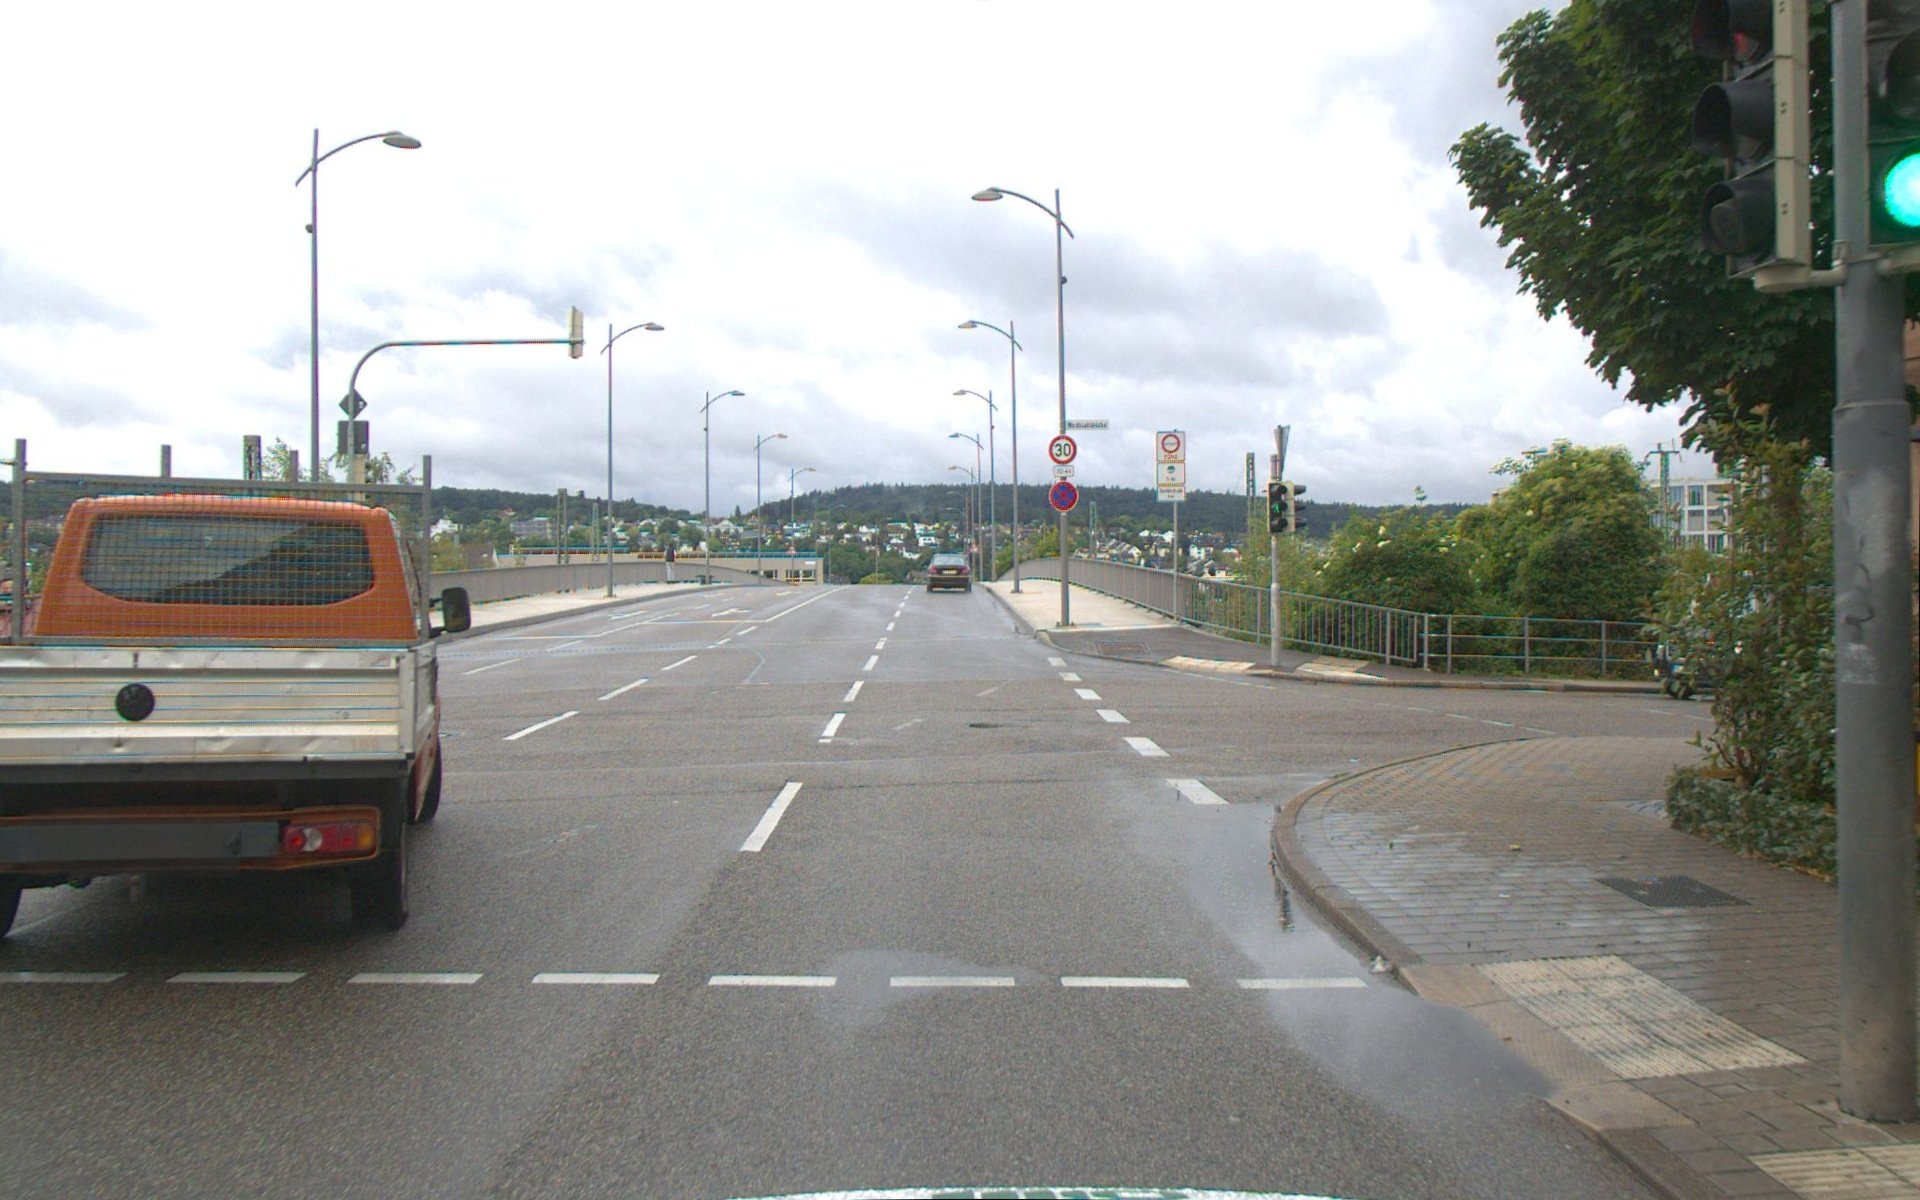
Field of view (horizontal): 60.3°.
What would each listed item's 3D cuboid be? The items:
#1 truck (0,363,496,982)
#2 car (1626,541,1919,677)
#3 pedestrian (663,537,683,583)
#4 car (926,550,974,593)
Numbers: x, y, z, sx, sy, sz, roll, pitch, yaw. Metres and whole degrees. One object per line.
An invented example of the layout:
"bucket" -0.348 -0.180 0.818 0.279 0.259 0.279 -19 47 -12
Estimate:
"truck" -3.676 0.264 8.456 2.360 2.167 5.294 -1 0 -15
"car" 13.507 0.170 27.293 4.681 2.049 1.985 2 0 -25
"pedestrian" -13.304 -1.839 76.607 0.741 2.084 0.891 -1 0 -1
"car" -0.373 -1.035 62.384 1.718 1.505 3.999 -1 0 -1
